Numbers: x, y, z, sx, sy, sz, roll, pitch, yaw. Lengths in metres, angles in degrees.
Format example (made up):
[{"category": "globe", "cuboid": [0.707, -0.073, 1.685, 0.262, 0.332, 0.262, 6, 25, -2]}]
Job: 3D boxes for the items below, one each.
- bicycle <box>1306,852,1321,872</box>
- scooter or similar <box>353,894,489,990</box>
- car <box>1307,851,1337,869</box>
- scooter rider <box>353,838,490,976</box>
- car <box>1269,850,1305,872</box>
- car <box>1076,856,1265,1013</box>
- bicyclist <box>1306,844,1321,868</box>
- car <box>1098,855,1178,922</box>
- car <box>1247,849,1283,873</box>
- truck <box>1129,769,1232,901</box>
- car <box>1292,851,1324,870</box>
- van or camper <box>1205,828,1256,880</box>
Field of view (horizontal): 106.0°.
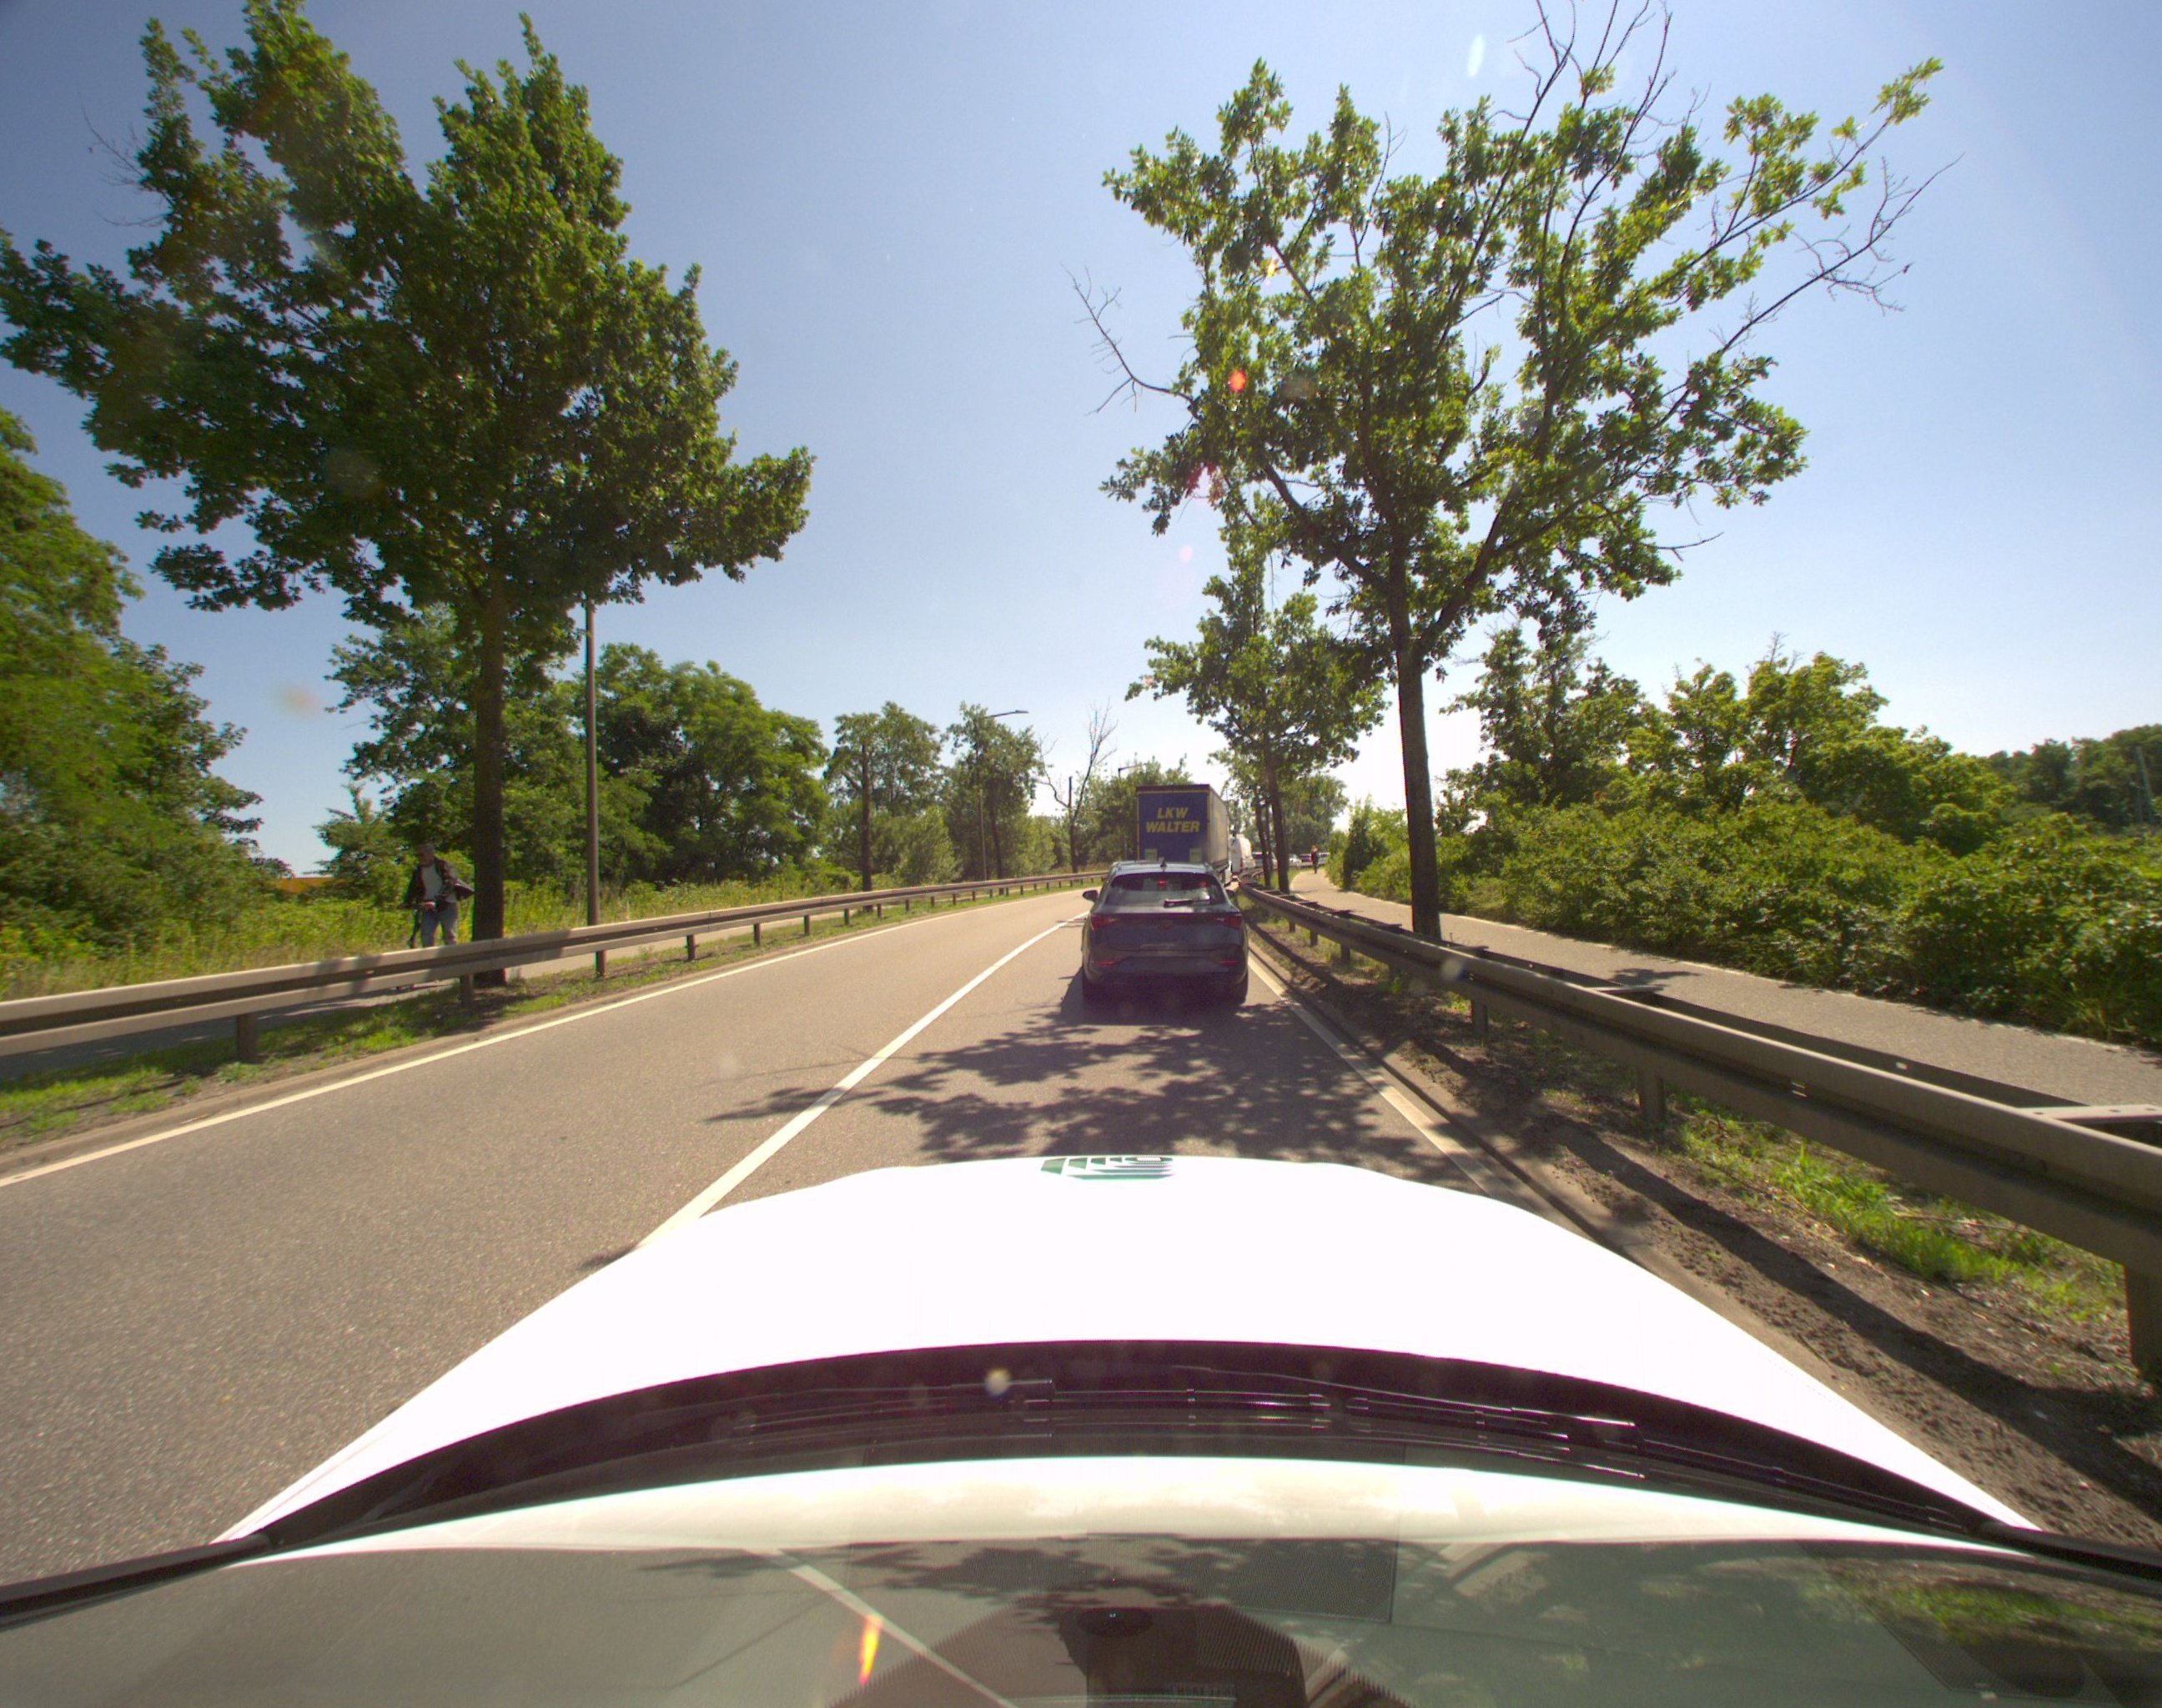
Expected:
[{"category": "bicycle", "cuboid": [14.737, 0.512, 51.660, 0.854, 1.237, 2.318, -1, -1, 14]}, {"category": "scooter or similar", "cuboid": [-8.336, 1.086, 10.337, 0.773, 1.091, 1.097, -1, -1, 7]}, {"category": "car", "cuboid": [24.529, 0.596, 82.726, 1.975, 1.768, 4.783, -1, -1, 28]}, {"category": "scooter rider", "cuboid": [-8.341, 0.644, 10.351, 0.772, 1.657, 1.123, -1, -1, 8]}, {"category": "car", "cuboid": [17.516, 0.611, 68.934, 1.975, 1.808, 4.874, -1, -1, 26]}, {"category": "car", "cuboid": [0.859, 0.766, 9.526, 1.738, 1.432, 3.880, -1, -1, 1]}, {"category": "bicyclist", "cuboid": [14.720, 0.114, 51.561, 0.854, 1.523, 0.984, -1, -1, 14]}, {"category": "car", "cuboid": [1.499, 0.799, 20.447, 1.800, 1.508, 4.006, -1, -1, 6]}, {"category": "car", "cuboid": [13.843, 0.524, 61.047, 1.976, 1.712, 4.644, -1, -1, 21]}, {"category": "truck", "cuboid": [4.891, -0.573, 35.952, 2.930, 4.449, 16.853, -1, -1, 12]}, {"category": "car", "cuboid": [21.346, 0.639, 76.394, 1.975, 1.717, 4.897, -1, -1, 26]}, {"category": "van or camper", "cuboid": [9.446, 0.023, 51.106, 2.447, 2.998, 6.112, -1, -1, 16]}]
